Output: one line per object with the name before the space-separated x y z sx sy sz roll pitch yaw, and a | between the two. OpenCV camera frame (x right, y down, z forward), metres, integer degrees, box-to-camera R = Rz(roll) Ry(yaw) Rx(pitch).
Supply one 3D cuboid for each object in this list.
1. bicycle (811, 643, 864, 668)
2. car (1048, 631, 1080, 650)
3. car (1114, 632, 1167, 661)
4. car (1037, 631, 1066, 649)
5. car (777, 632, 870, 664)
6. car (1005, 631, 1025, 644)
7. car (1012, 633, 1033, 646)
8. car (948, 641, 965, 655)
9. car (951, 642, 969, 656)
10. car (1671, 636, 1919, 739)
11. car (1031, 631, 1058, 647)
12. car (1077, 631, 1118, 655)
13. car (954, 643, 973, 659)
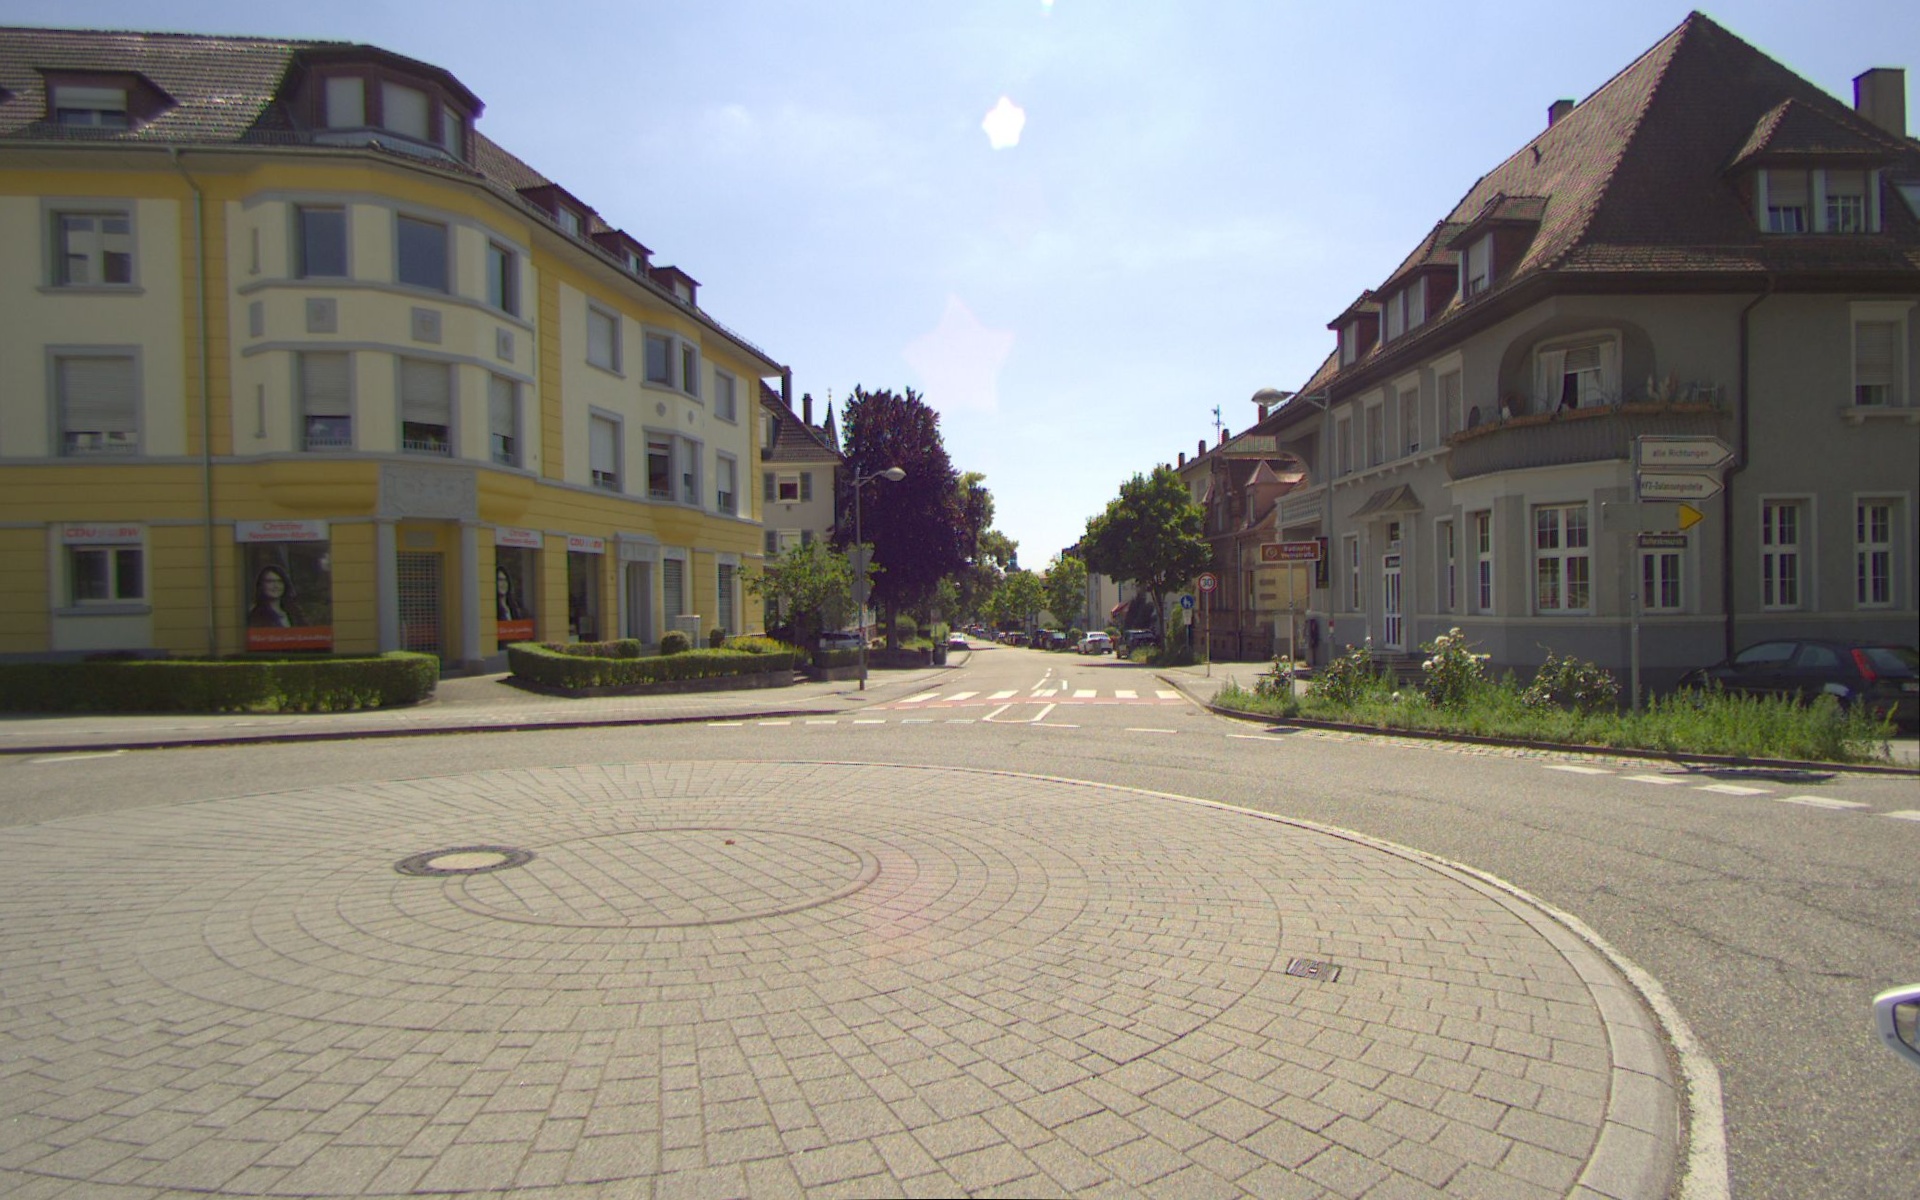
bicycle | -5.574 2.521 45.815 2.343 1.153 0.668 0 -2 -6
car | 8.607 3.345 83.309 1.961 1.529 4.418 0 -2 -3
car | 9.959 2.564 55.842 1.961 1.529 4.418 0 -2 -3
car | 8.132 3.523 89.522 1.961 1.529 4.418 0 -2 -3
car | -6.542 2.279 48.152 4.338 1.529 1.997 0 -2 -9
car | 6.617 4.567 121.087 1.961 1.529 4.418 0 -2 -3
car | 7.147 4.520 115.290 1.961 1.529 4.418 0 -2 -3
car | -0.434 5.457 114.268 1.775 1.472 4.000 0 -2 -2
car | -0.005 5.153 105.880 1.775 1.472 4.000 0 -2 -2
car | 14.183 1.362 16.742 1.692 1.479 3.789 0 -2 -7
car | 7.917 3.680 94.873 1.961 1.529 4.418 0 -2 -3
car | 9.310 2.893 68.111 1.961 1.529 4.418 0 -2 -3
car | 0.356 5.079 100.050 1.775 1.472 4.000 0 -2 -2
